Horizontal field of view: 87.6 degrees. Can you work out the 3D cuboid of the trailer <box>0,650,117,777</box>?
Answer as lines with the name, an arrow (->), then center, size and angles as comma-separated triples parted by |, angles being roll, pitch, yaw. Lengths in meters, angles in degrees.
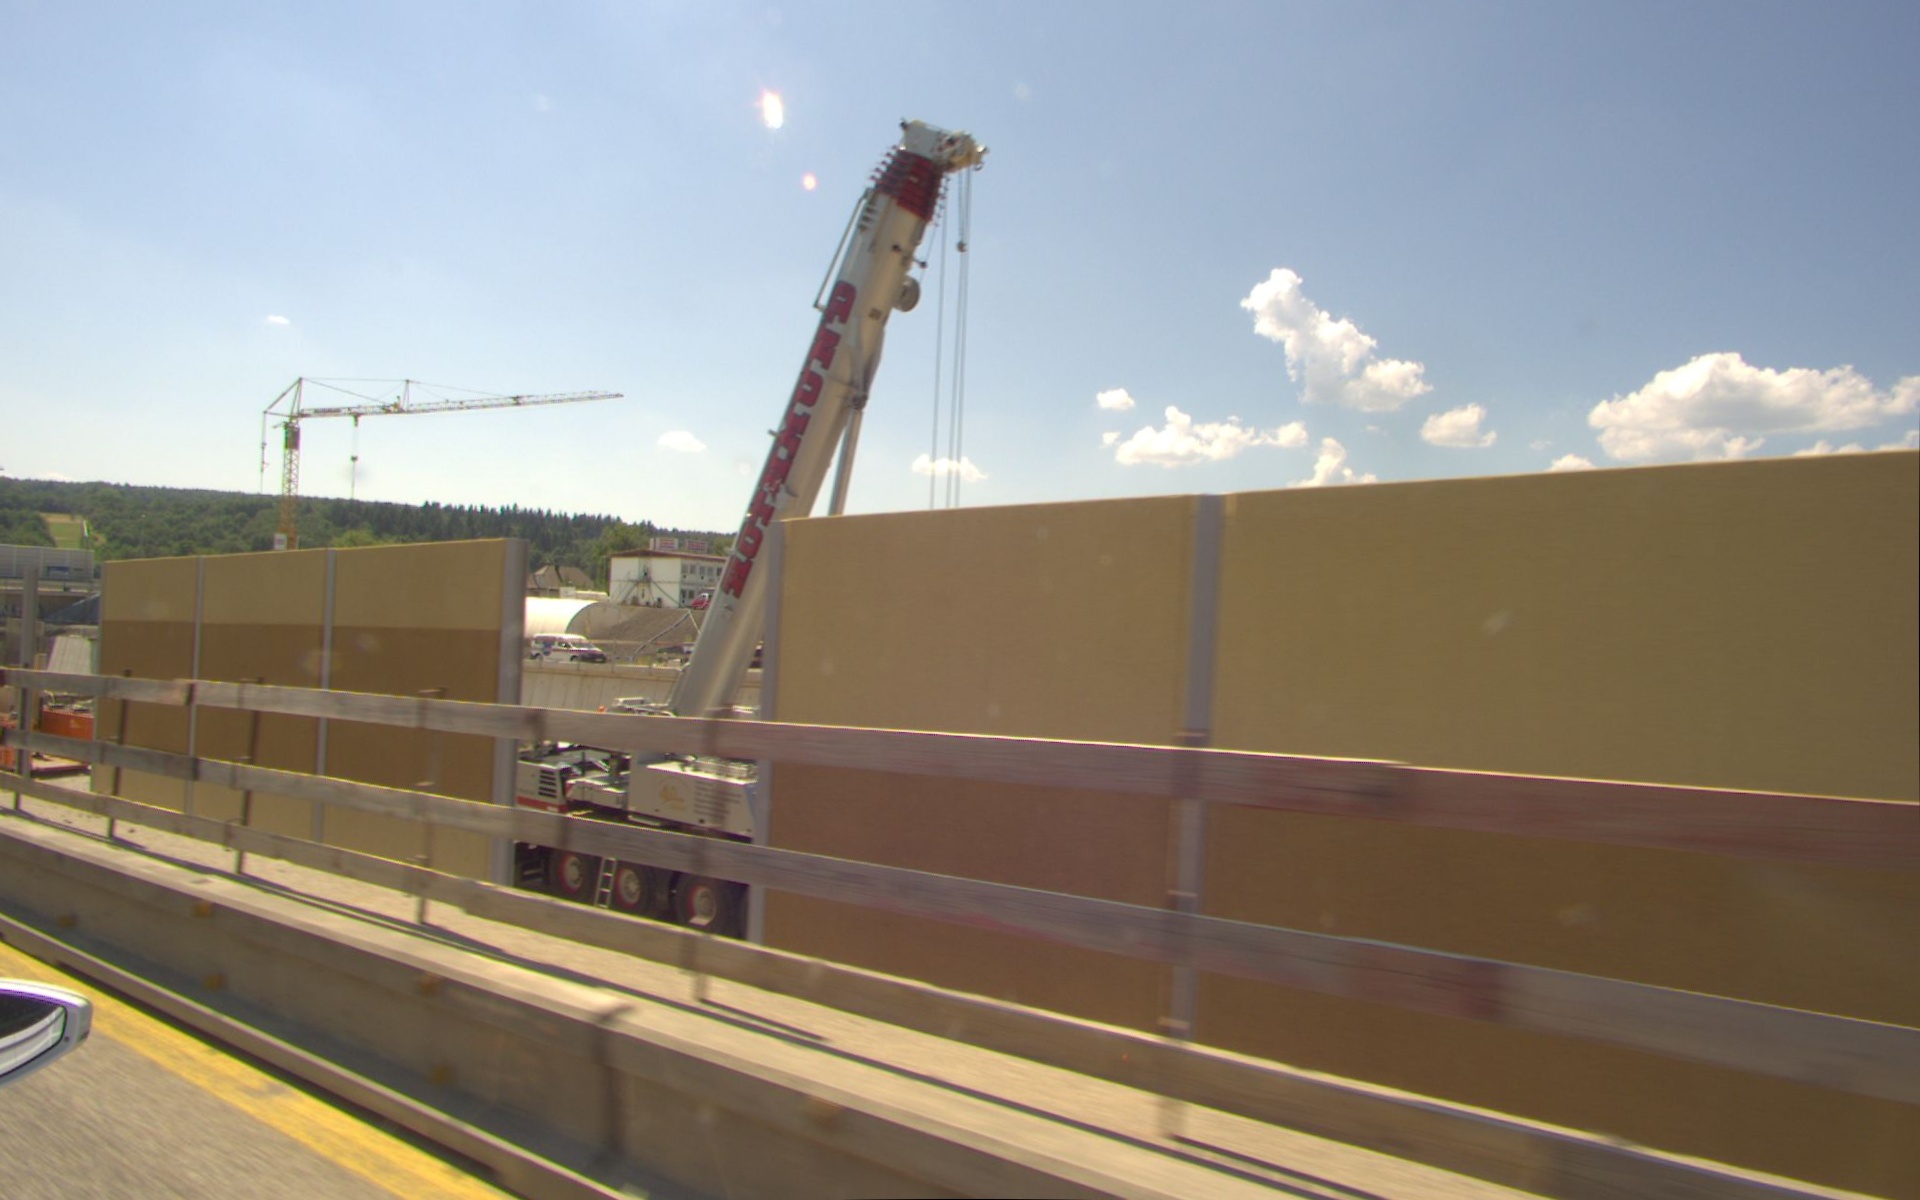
trailer -> -36.240, 4.037, 38.235 | 12.868, 3.936, 2.752 | 0, -2, 34

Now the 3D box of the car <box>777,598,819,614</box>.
car -> -15.905, 0.613, 98.013 | 4.019, 1.537, 1.677 | 0, -2, 34

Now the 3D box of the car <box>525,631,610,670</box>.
car -> -21.759, 2.769, 55.478 | 4.753, 2.039, 1.804 | 0, -2, 31

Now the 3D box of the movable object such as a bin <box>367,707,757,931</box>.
movable object such as a bin -> -8.850, 4.344, 21.753 | 9.019, 3.530, 2.963 | -1, -4, 32

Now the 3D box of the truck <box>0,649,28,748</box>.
truck -> -41.988, 4.085, 42.167 | 5.800, 3.936, 2.753 | 0, -2, 34

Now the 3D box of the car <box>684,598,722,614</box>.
car -> -23.254, 0.571, 90.544 | 3.382, 1.333, 1.511 | 0, -2, 34
